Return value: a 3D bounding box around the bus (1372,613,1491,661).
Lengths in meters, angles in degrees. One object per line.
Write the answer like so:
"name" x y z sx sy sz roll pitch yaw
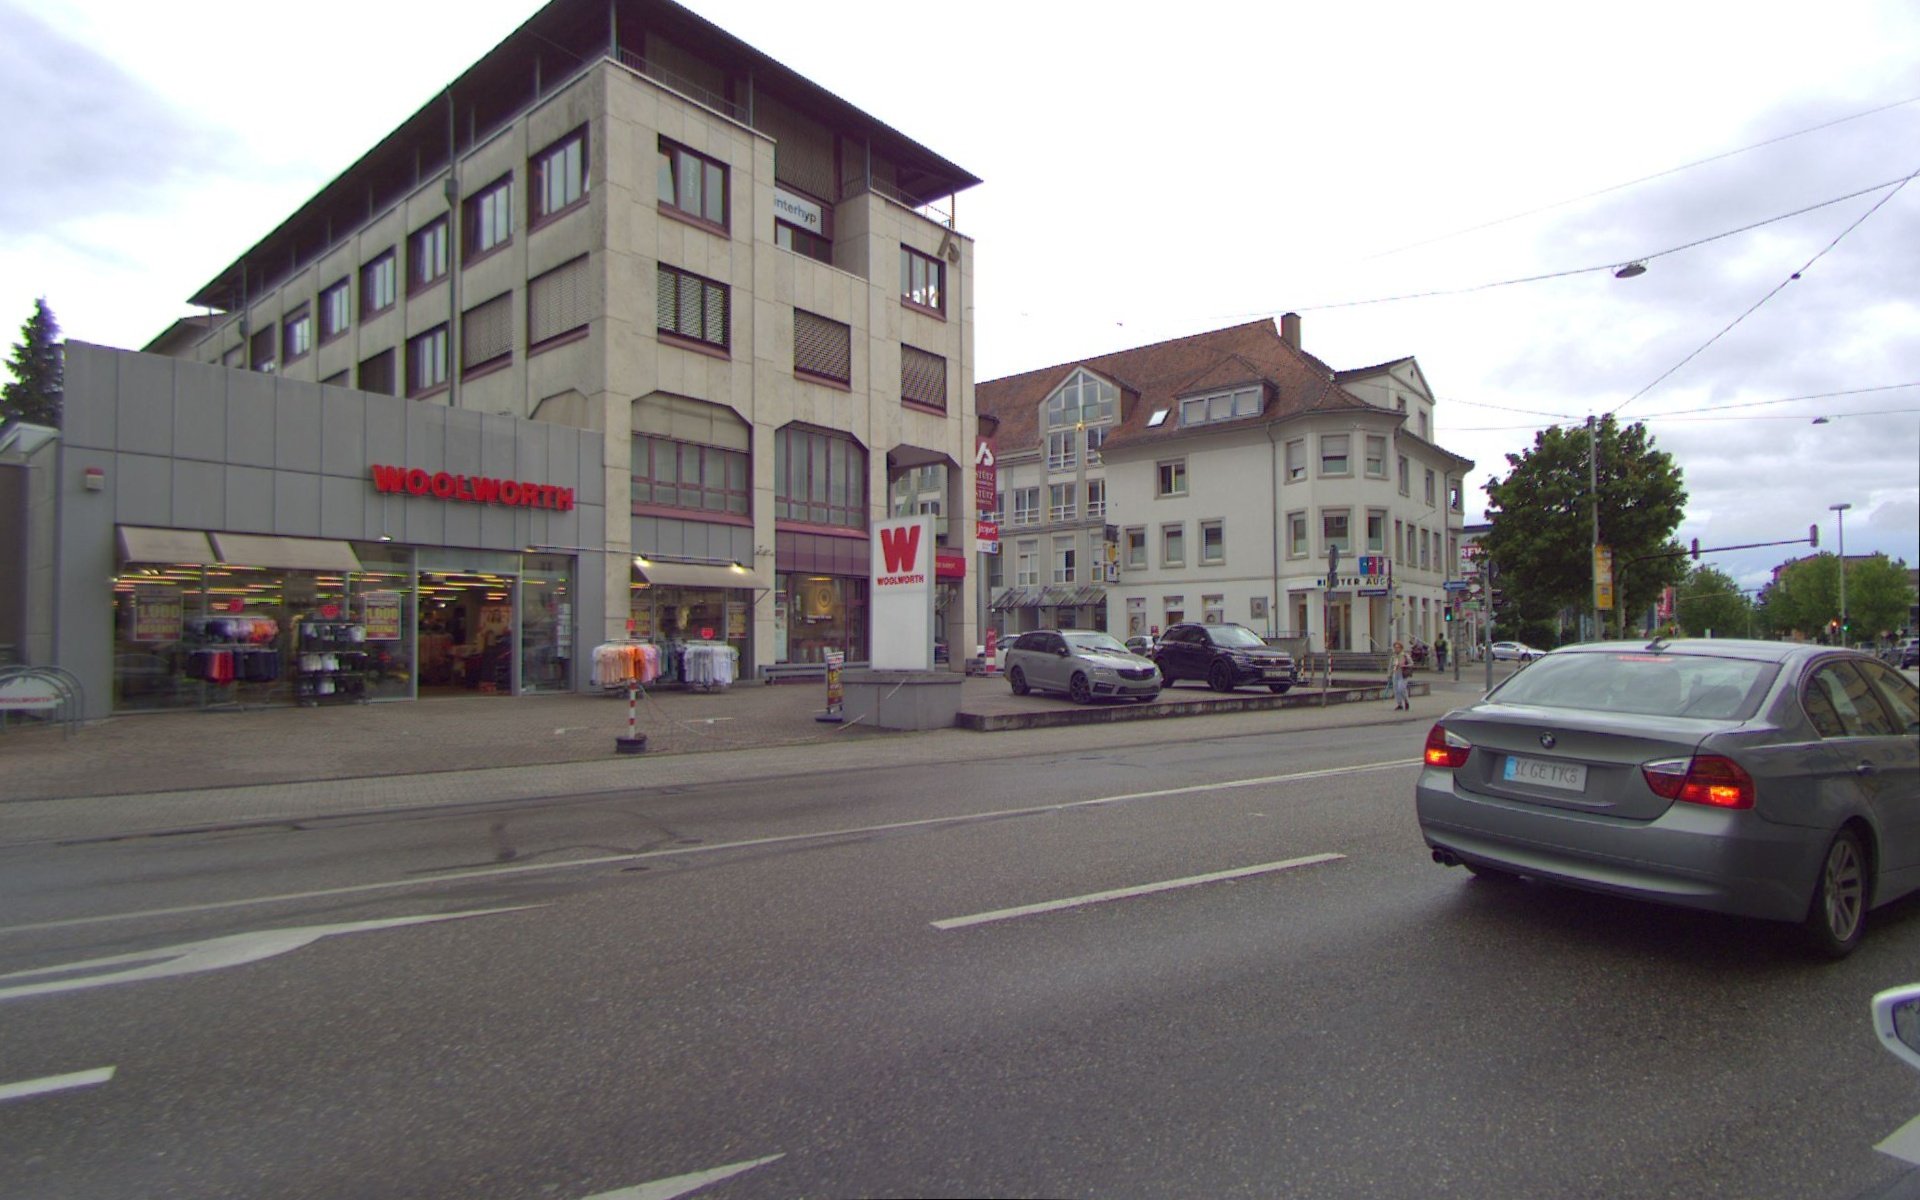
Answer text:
"bus" 40.685 3.122 87.053 2.888 3.147 9.052 -1 5 -35

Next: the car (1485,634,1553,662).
"car" 40.442 3.481 72.681 3.947 1.906 1.813 -3 -3 45

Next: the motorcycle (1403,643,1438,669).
"motorcycle" 21.918 2.658 47.743 0.712 1.194 2.574 -2 -2 43

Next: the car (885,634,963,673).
"car" -1.999 2.891 54.783 3.939 2.040 1.991 -2 -2 39

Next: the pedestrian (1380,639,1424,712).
"pedestrian" 9.722 1.655 22.103 0.751 1.549 0.506 1 -1 39

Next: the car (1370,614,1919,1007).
"car" 4.486 0.873 5.780 4.323 1.483 1.789 2 -1 -33

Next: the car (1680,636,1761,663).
"car" 51.421 3.312 67.981 1.969 1.773 3.983 1 -2 -19

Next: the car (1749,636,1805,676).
"car" 37.292 2.511 45.922 1.821 1.706 3.985 -1 -2 37

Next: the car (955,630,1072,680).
"car" 1.855 1.929 35.073 3.699 1.519 1.578 4 -3 -16

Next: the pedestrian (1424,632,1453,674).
"pedestrian" 19.906 2.186 41.807 0.949 1.731 0.932 -1 -2 34

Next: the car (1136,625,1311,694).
"car" 6.323 1.428 24.677 1.925 1.526 4.410 1 -3 -22

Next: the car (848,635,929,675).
"car" -3.771 2.842 52.600 3.937 2.040 1.992 -2 -2 38

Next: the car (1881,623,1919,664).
"car" 49.434 2.259 52.142 1.969 2.040 3.984 -2 -3 37

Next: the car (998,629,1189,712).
"car" 2.672 1.416 21.275 1.861 1.546 4.431 1 -2 -26

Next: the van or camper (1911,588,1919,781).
"van or camper" 12.967 0.963 11.745 4.100 2.174 1.843 1 -2 -35

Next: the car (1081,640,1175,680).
"car" 7.956 2.798 47.596 3.937 1.839 1.992 -2 -2 38
